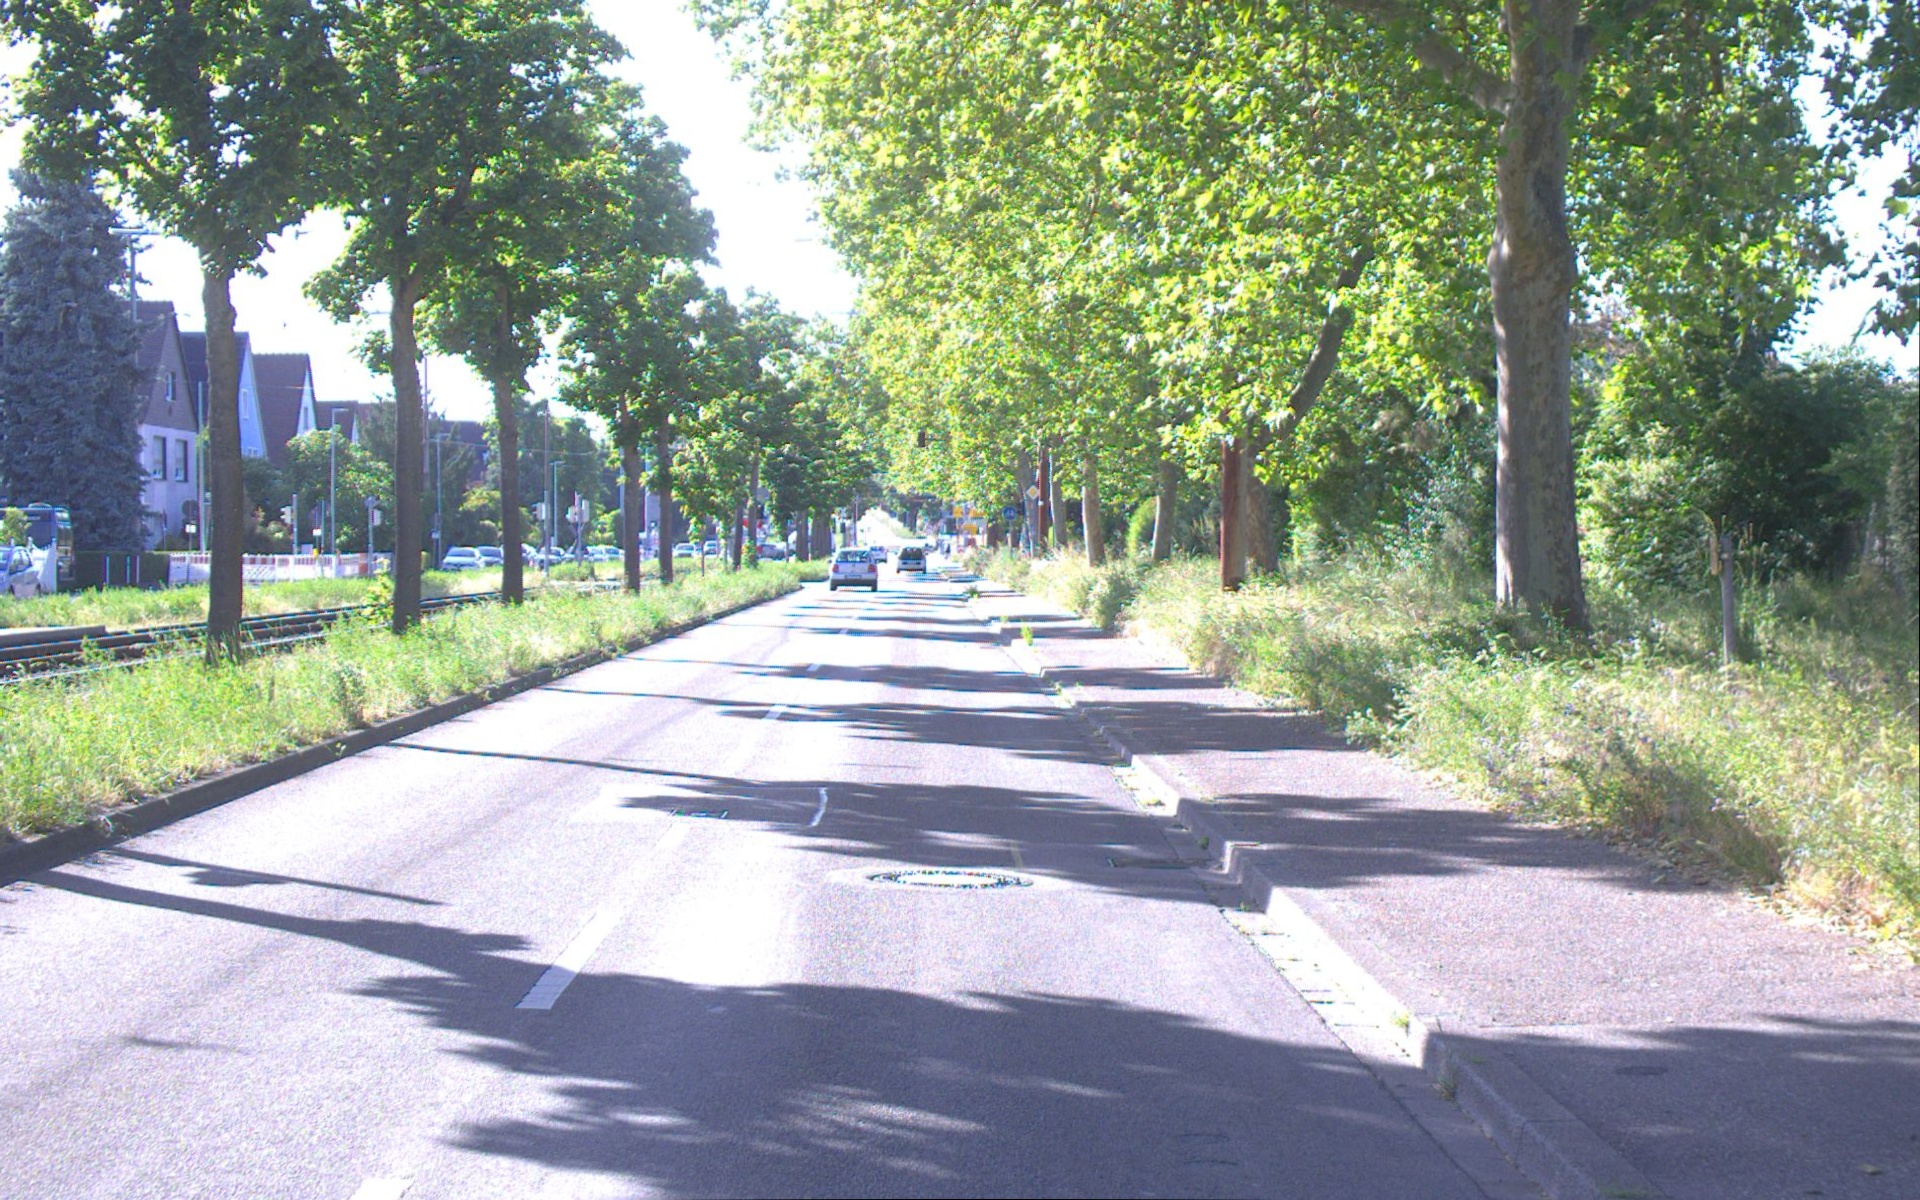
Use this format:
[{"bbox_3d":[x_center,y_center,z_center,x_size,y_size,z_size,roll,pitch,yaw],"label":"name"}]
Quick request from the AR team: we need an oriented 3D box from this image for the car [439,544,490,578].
[{"bbox_3d":[-23.468,-1.844,162.981,1.860,1.537,4.228,1,1,-1],"label":"car"}]

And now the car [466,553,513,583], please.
[{"bbox_3d":[-23.516,-1.595,171.945,1.729,1.461,4.603,1,1,-1],"label":"car"}]

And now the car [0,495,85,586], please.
[{"bbox_3d":[-28.302,-1.746,100.231,5.028,2.616,2.102,0,1,0],"label":"car"}]

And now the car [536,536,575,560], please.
[{"bbox_3d":[-23.854,-3.079,202.667,1.860,1.365,4.228,1,1,-1],"label":"car"}]

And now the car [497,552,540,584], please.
[{"bbox_3d":[-23.456,-1.687,182.900,1.748,1.645,4.555,1,1,-1],"label":"car"}]

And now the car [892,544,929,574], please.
[{"bbox_3d":[-2.744,-2.244,190.094,1.993,1.598,4.474,1,1,-1],"label":"car"}]

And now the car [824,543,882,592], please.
[{"bbox_3d":[-3.619,-1.116,117.030,1.860,1.595,4.228,1,1,-1],"label":"car"}]

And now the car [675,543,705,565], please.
[{"bbox_3d":[-20.399,-3.436,259.924,1.993,1.598,4.474,1,1,-1],"label":"car"}]

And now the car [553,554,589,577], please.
[{"bbox_3d":[-24.994,-2.222,221.146,1.860,1.408,4.158,1,1,-1],"label":"car"}]

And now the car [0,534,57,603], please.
[{"bbox_3d":[-22.301,-0.755,79.201,1.946,1.548,4.057,1,1,-1],"label":"car"}]
